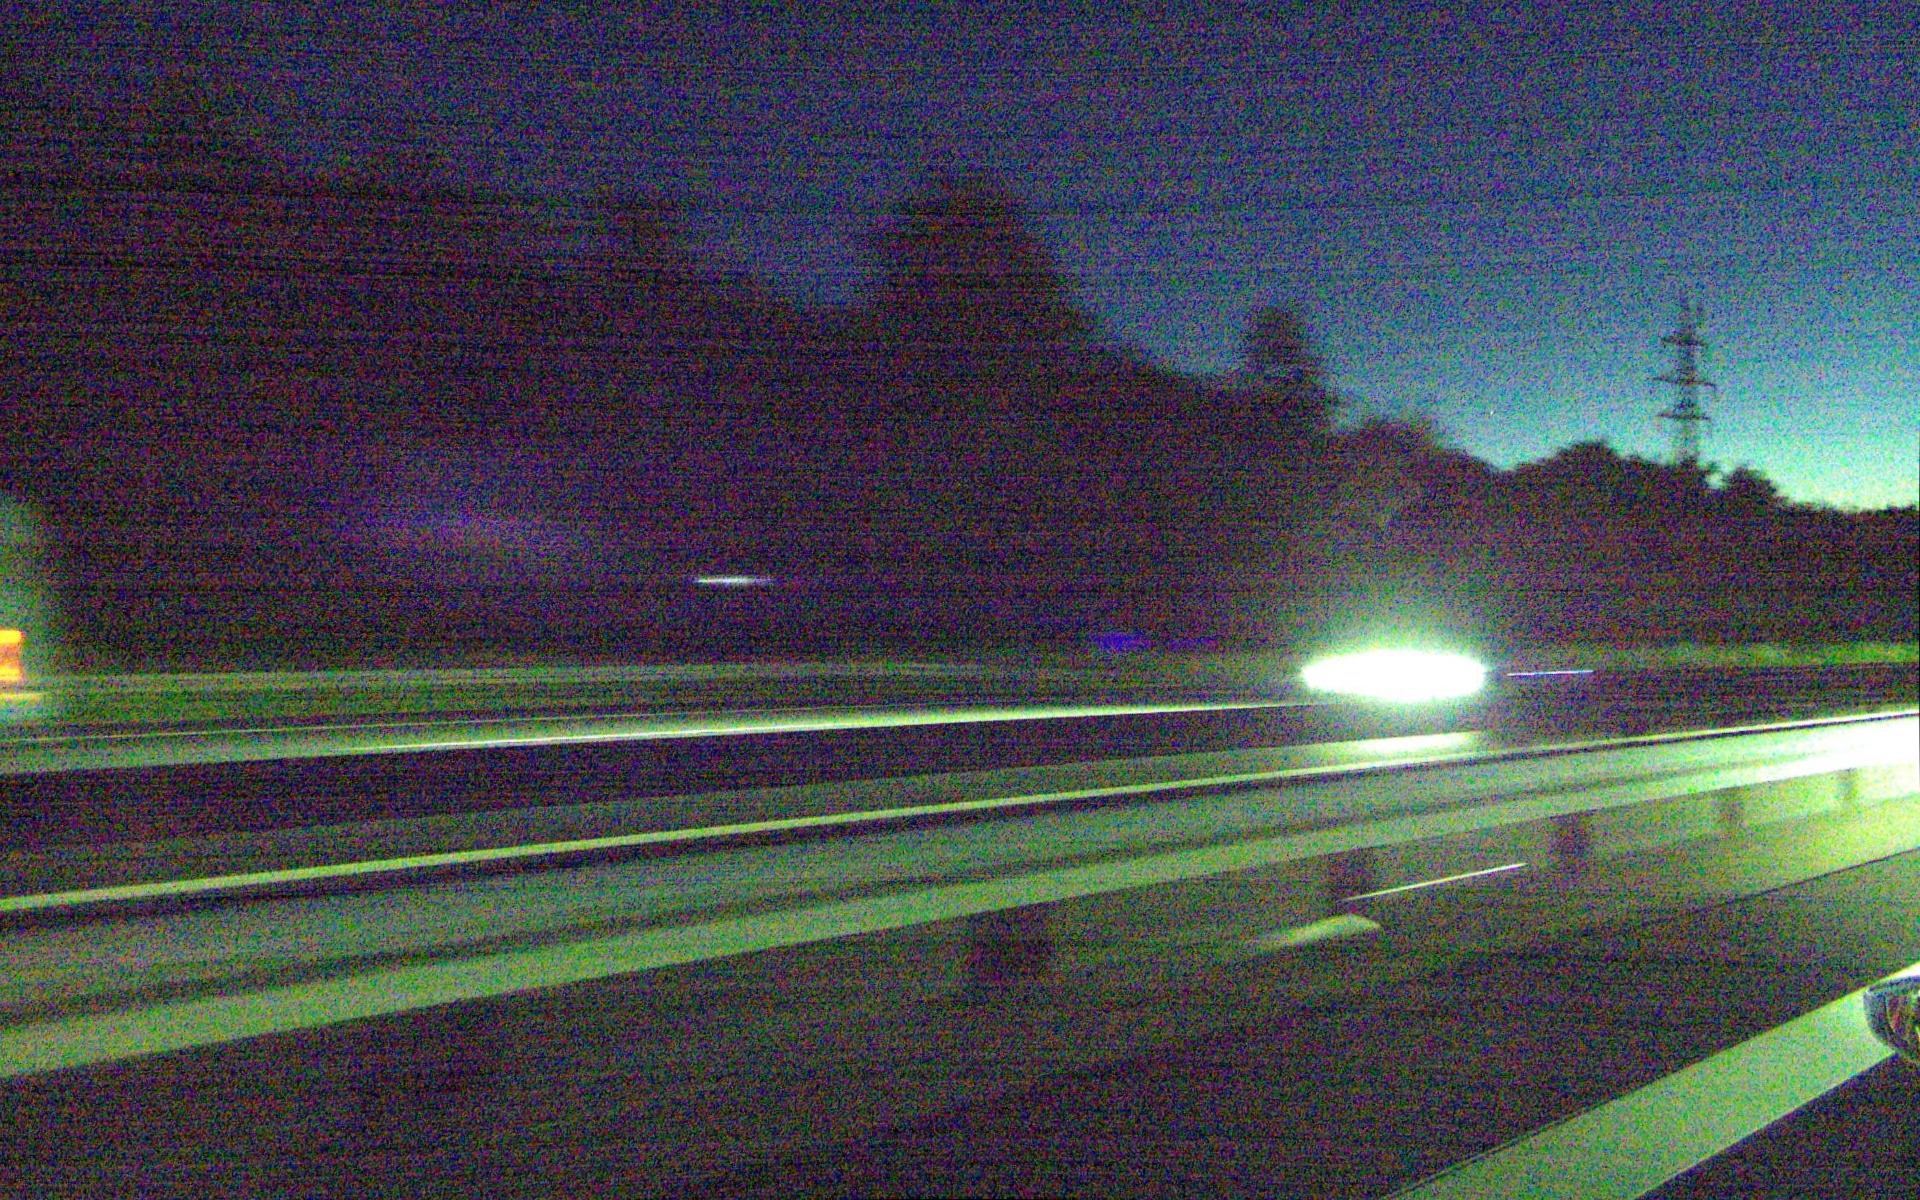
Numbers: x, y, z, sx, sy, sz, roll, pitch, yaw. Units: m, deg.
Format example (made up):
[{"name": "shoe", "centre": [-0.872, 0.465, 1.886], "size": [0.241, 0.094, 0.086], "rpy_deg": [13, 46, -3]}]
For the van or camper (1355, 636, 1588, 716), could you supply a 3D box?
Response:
[{"name": "van or camper", "centre": [10.449, 1.505, 20.408], "size": [5.043, 1.459, 1.772], "rpy_deg": [1, -5, -31]}]
